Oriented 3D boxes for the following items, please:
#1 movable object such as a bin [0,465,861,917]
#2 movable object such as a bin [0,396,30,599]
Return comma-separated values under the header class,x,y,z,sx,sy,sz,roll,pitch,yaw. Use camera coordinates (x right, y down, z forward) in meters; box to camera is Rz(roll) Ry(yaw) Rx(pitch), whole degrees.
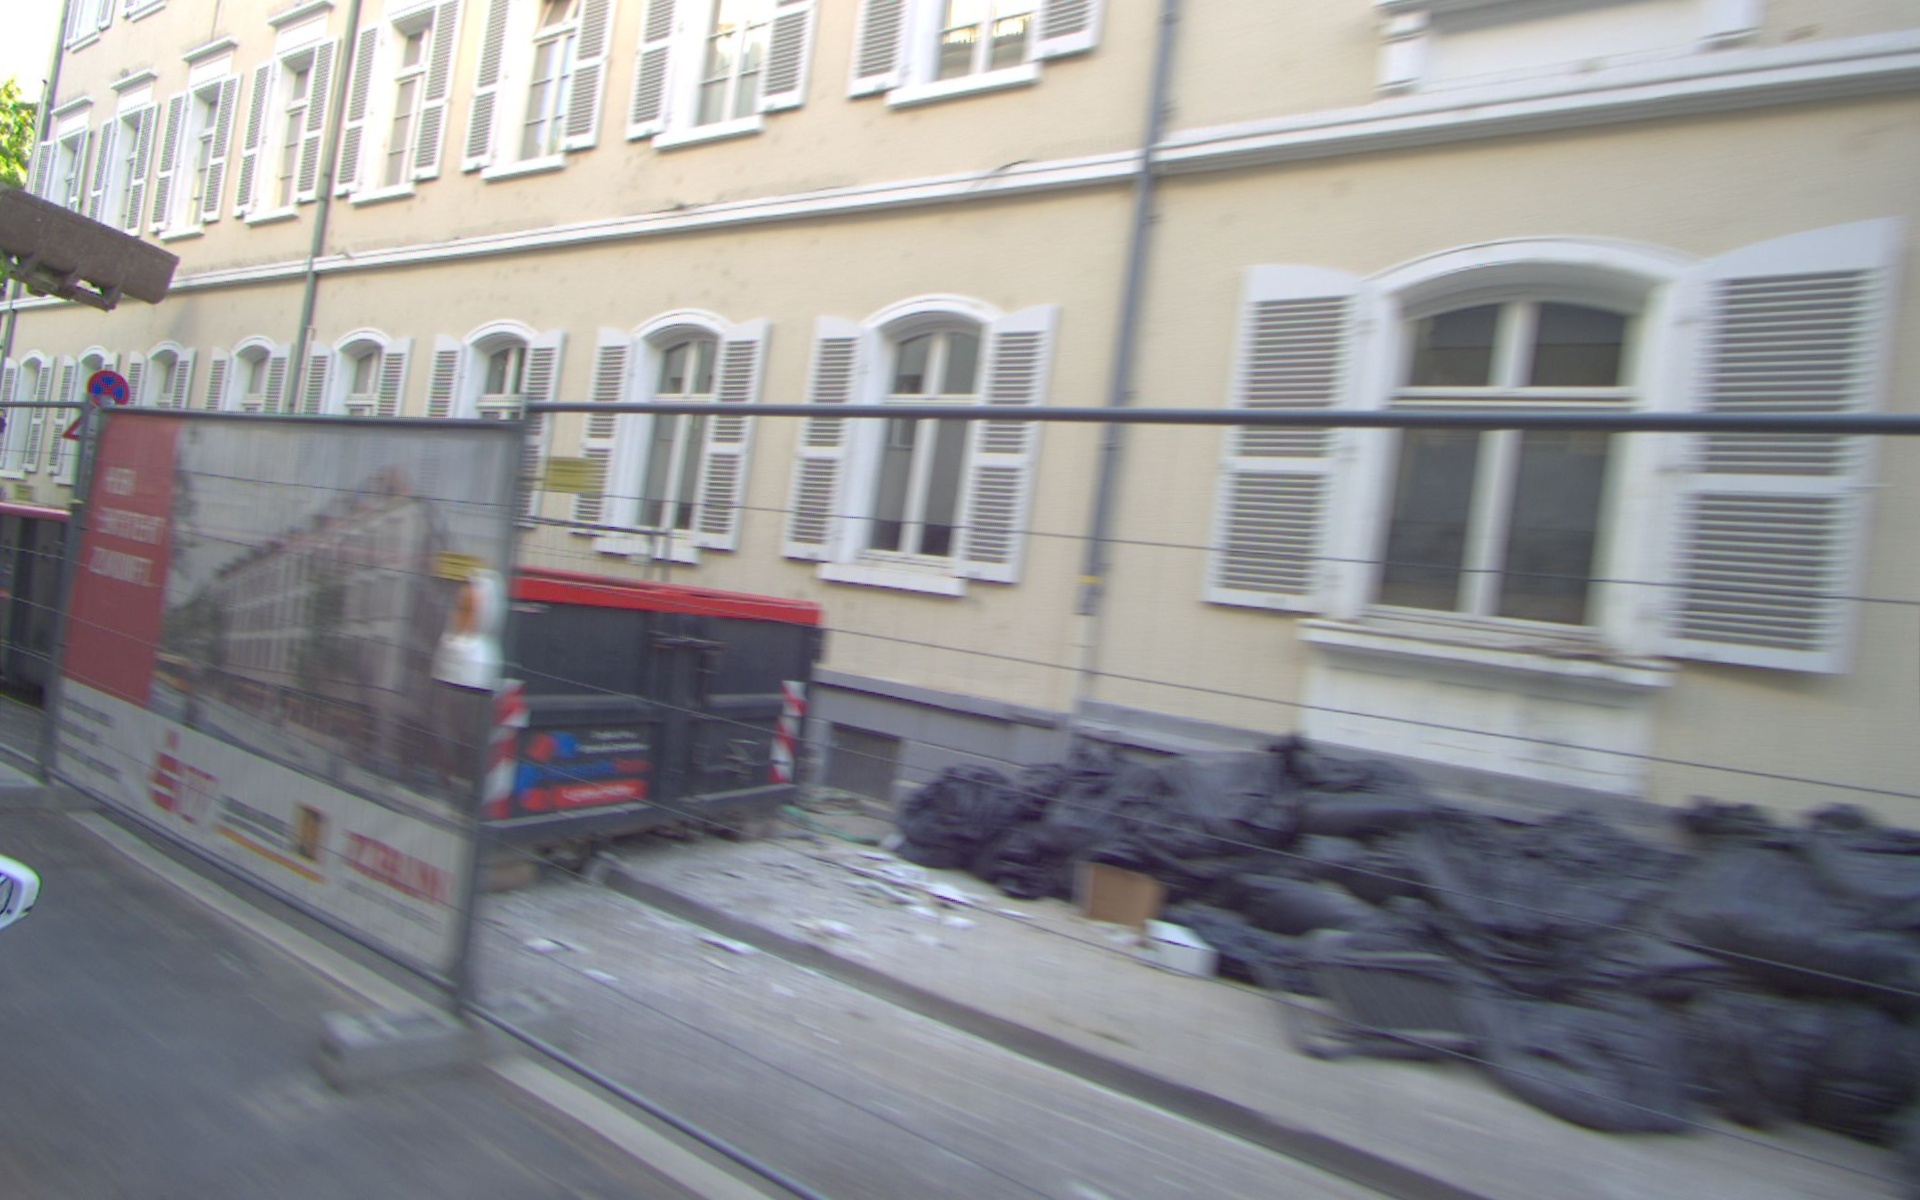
class,x,y,z,sx,sy,sz,roll,pitch,yaw
movable object such as a bin,-4.609,0.255,7.262,7.425,1.656,2.744,7,-3,31
movable object such as a bin,-16.133,-1.817,14.557,4.376,2.872,2.610,8,-1,32
